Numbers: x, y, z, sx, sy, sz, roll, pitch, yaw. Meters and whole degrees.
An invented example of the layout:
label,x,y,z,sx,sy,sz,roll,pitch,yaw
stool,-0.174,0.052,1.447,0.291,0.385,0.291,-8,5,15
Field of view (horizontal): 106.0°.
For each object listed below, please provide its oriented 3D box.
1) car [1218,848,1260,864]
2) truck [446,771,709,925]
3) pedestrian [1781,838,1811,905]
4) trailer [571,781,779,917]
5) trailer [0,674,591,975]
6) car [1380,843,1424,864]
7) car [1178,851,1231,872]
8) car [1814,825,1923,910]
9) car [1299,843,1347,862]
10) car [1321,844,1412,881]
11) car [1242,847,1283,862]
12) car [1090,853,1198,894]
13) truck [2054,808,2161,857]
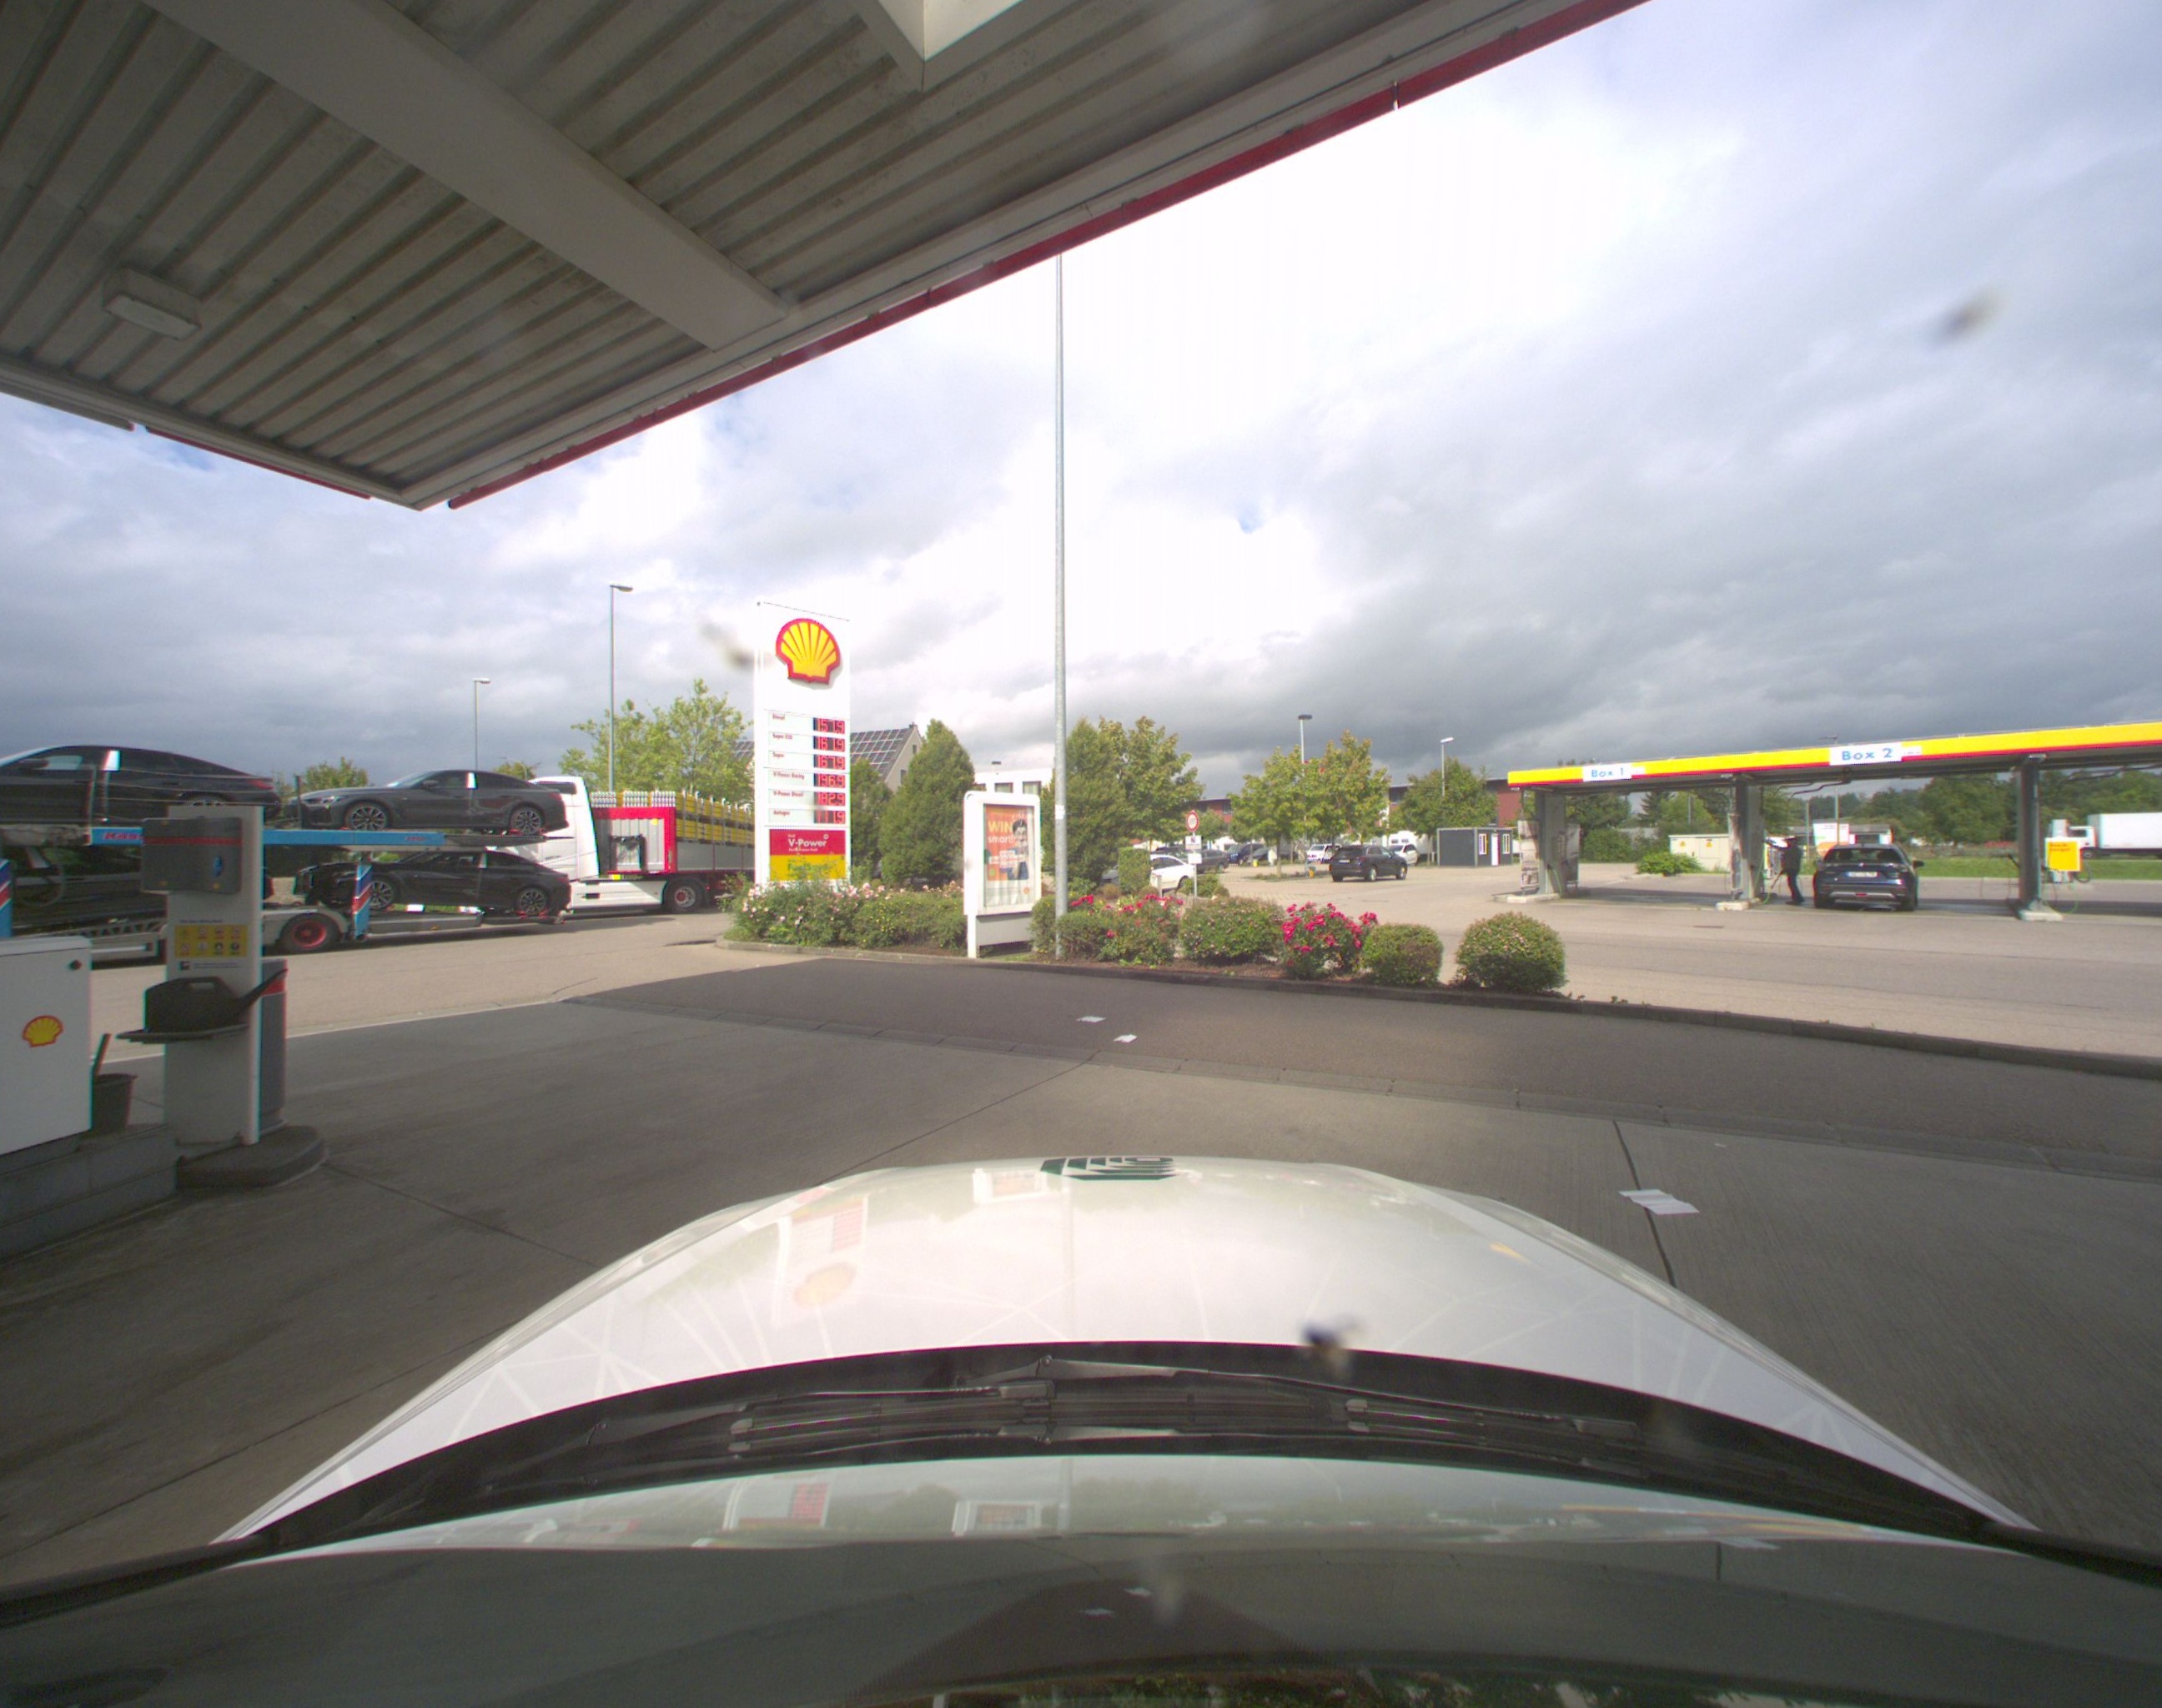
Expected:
label,x,y,z,sx,sy,sz,roll,pitch,yaw
car,12.944,0.180,66.643,3.407,1.320,1.726,0,-1,-42
truck,-14.227,-0.133,23.325,2.707,3.846,5.953,-1,-1,44
pedestrian,18.621,0.446,21.210,0.551,1.722,0.531,-1,-1,39
trailer,-13.659,-0.089,29.066,2.729,3.776,12.676,0,-1,-8
trailer,-16.440,-0.417,13.667,2.711,4.423,14.450,-1,-1,31
car,20.602,-0.047,52.199,3.120,1.307,1.352,0,-1,-42
car,7.534,0.447,49.689,3.245,1.228,1.488,0,-1,-42
car,19.433,0.315,20.058,3.828,1.897,1.703,0,-1,-43
car,23.868,-0.122,80.252,4.903,1.833,2.159,0,-1,-41
car,12.870,0.373,36.563,4.527,1.548,1.864,0,-1,-41
car,14.487,0.033,64.859,3.437,1.179,1.468,0,-1,-42
car,2.388,0.681,30.004,4.368,1.404,1.354,0,-1,-42
truck,78.225,-1.552,59.991,7.989,3.534,2.714,-1,-1,41
